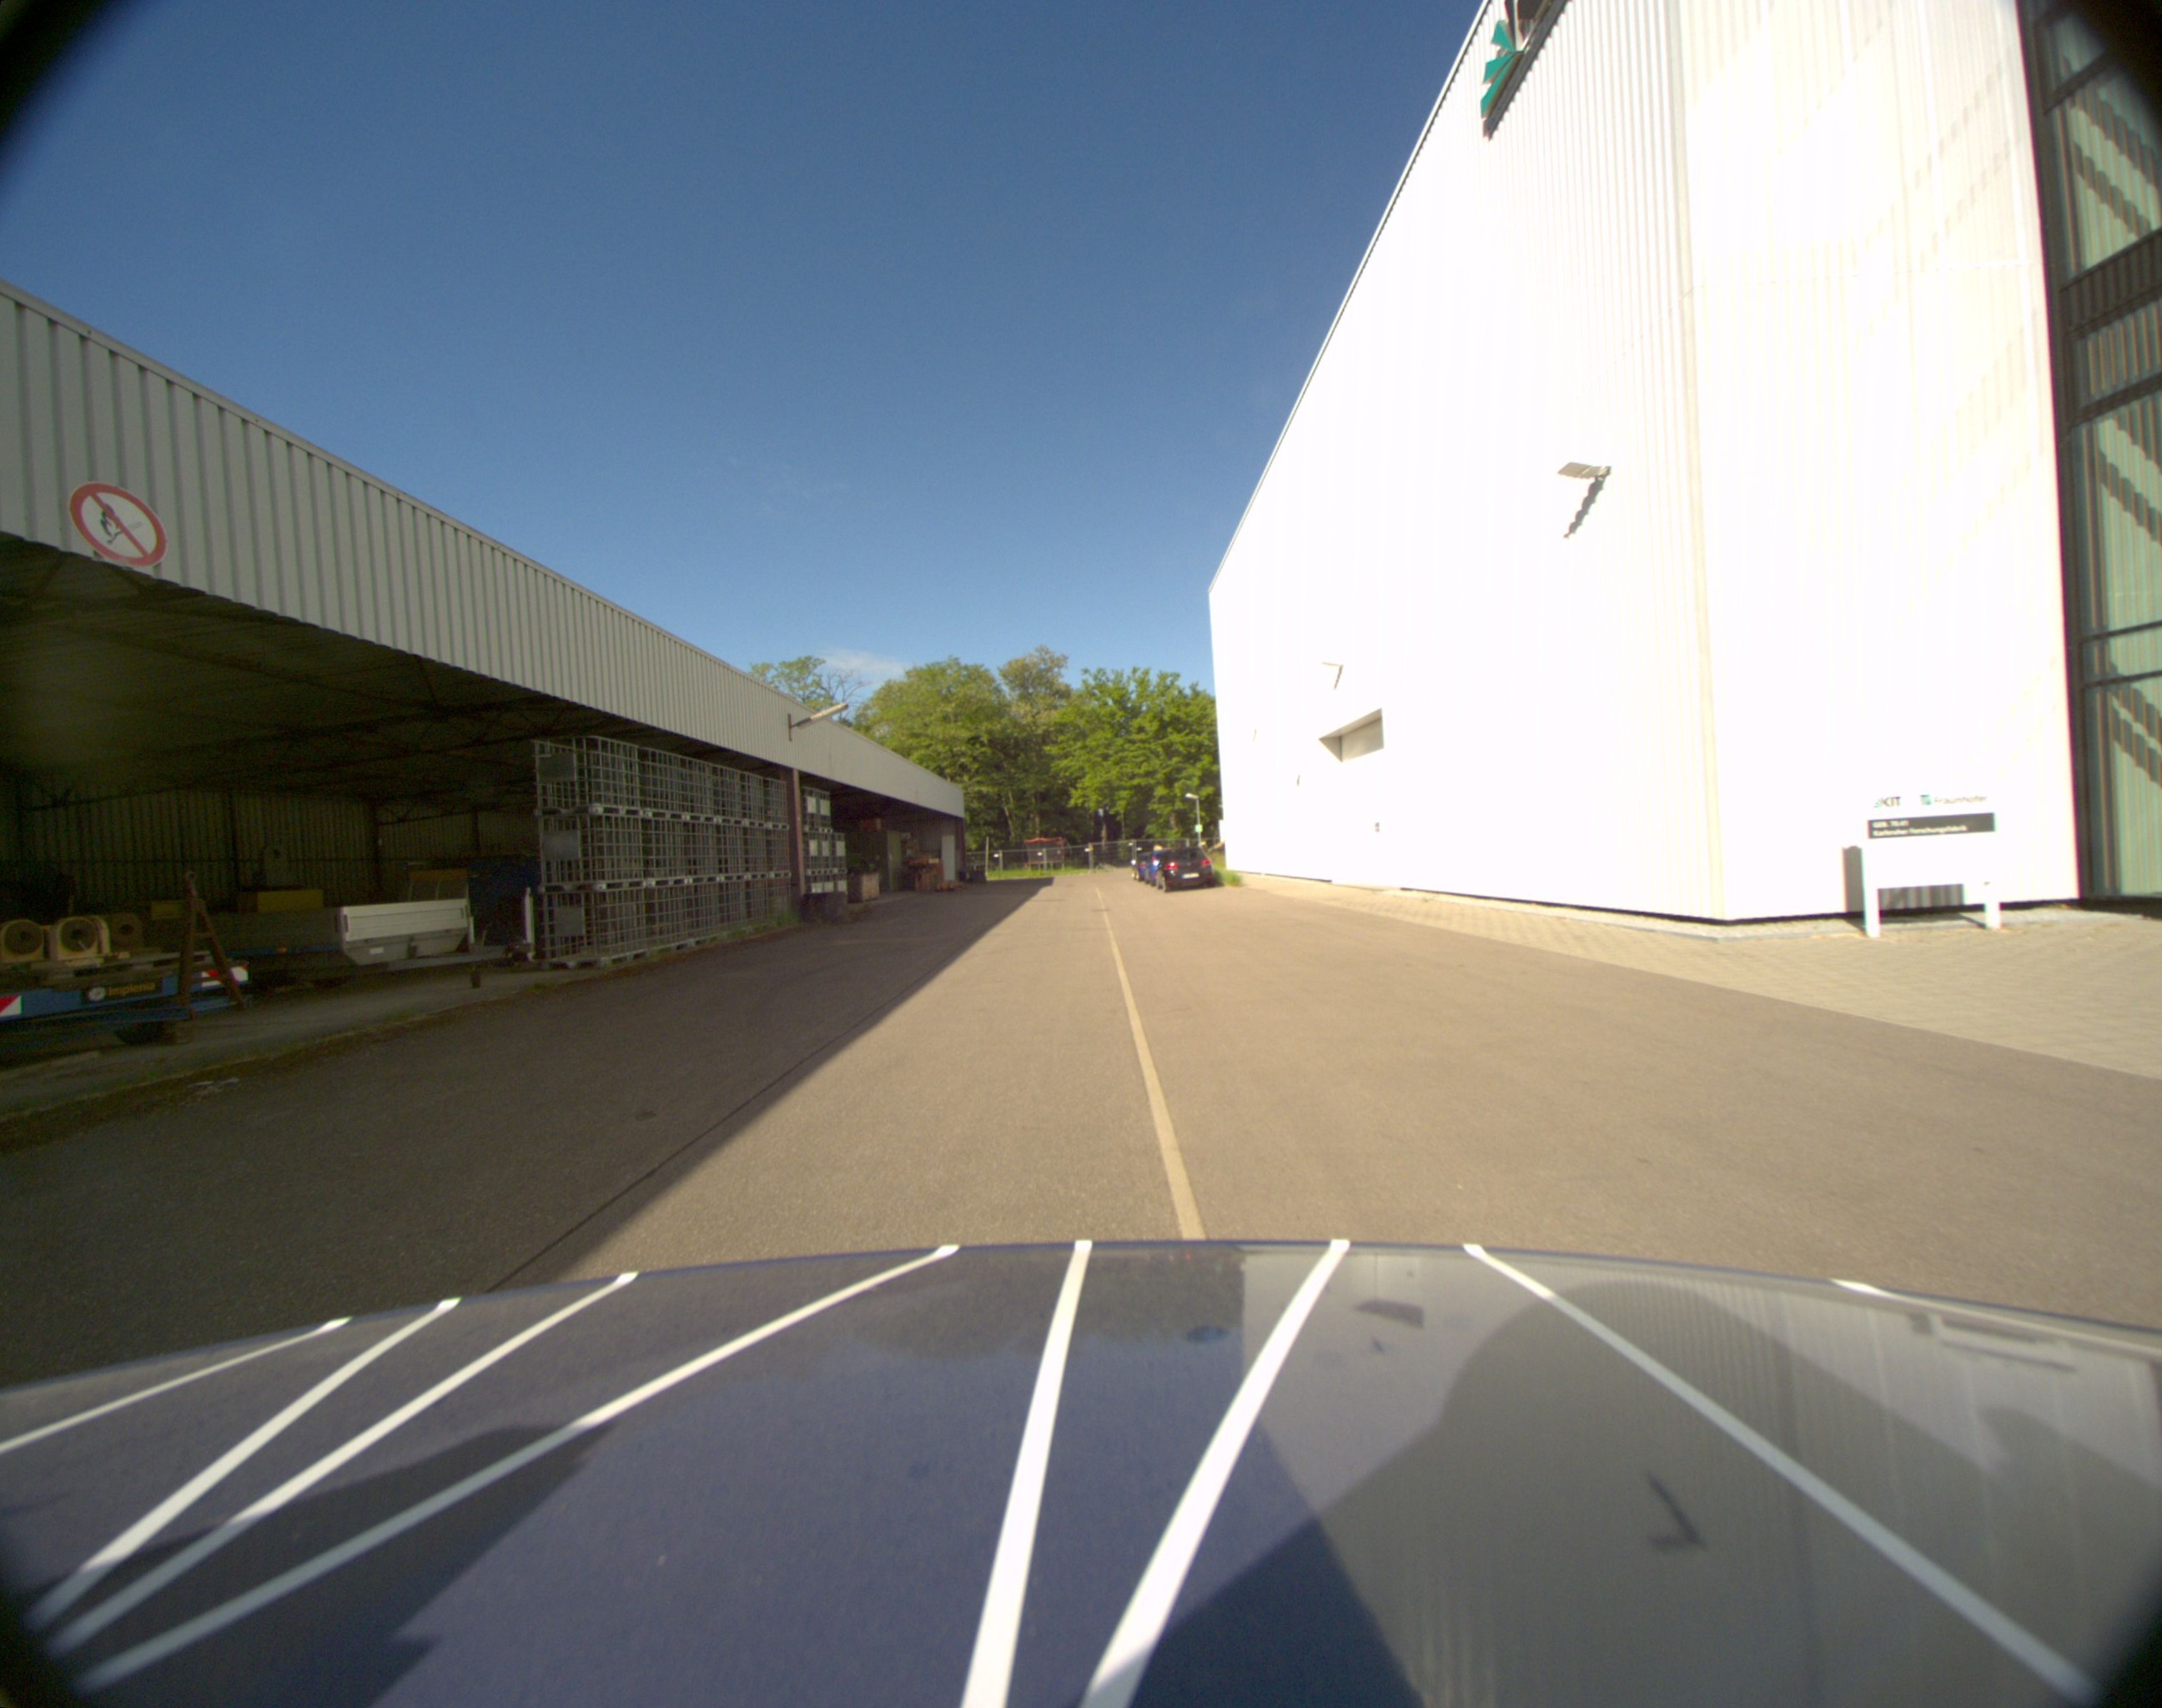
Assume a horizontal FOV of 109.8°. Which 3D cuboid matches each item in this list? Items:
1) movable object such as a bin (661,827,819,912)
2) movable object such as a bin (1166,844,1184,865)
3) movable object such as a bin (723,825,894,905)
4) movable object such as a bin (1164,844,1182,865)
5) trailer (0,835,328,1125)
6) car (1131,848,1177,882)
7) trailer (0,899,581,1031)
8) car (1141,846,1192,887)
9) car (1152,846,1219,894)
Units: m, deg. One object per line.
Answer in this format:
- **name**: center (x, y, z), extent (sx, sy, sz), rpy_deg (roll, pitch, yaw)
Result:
- **movable object such as a bin**: center (-12.455, 0.553, 28.024), extent (4.537, 2.814, 2.497), rpy_deg (-3, 0, 1)
- **movable object such as a bin**: center (6.561, 0.052, 53.130), extent (1.141, 1.426, 1.289), rpy_deg (-2, 0, 1)
- **movable object such as a bin**: center (-11.077, 0.428, 31.285), extent (5.848, 2.908, 2.820), rpy_deg (-3, 1, 1)
- **movable object such as a bin**: center (6.591, 0.048, 54.494), extent (1.141, 1.469, 1.280), rpy_deg (-2, 0, 1)
- **trailer**: center (-9.563, 0.918, 6.313), extent (4.433, 1.979, 2.163), rpy_deg (-2, 1, 2)
- **car**: center (3.534, 0.515, 37.411), extent (1.715, 1.440, 3.798), rpy_deg (-5, 0, -1)
- **trailer**: center (-9.926, 1.333, 9.662), extent (5.743, 1.178, 1.974), rpy_deg (-2, 1, -1)
- **car**: center (3.536, 0.505, 31.899), extent (1.552, 1.480, 3.522), rpy_deg (-5, 0, -1)
- **car**: center (3.630, 0.541, 27.154), extent (1.760, 1.437, 4.315), rpy_deg (-5, 0, 1)
